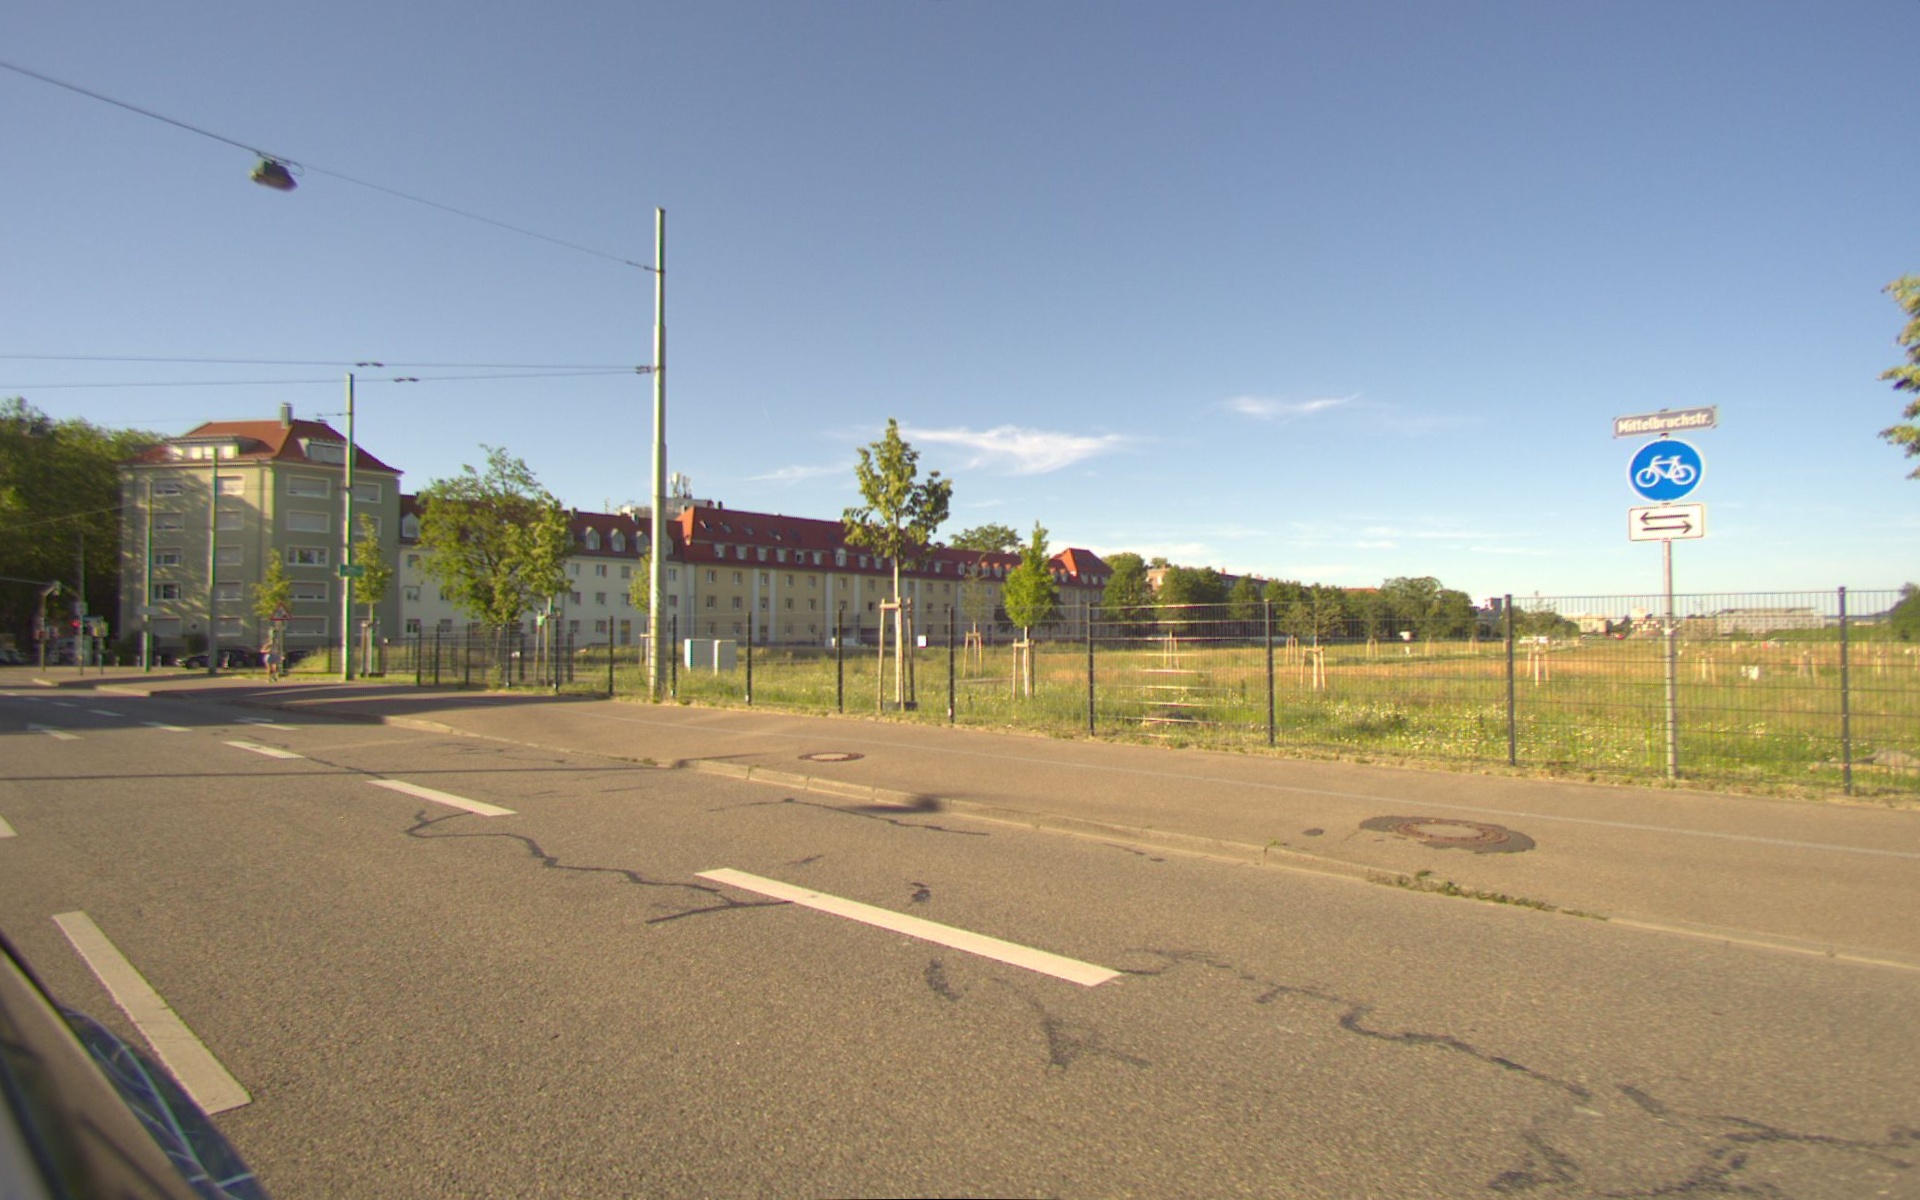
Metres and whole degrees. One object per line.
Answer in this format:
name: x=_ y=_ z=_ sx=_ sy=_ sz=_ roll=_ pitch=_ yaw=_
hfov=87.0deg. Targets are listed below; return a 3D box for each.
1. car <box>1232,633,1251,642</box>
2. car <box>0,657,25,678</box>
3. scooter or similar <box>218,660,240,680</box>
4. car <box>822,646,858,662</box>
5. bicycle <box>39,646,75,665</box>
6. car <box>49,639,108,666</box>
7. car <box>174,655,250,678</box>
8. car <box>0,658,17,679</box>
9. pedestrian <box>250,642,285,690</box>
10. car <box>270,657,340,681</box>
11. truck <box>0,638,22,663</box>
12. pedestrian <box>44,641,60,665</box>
car: x=54.243 y=7.230 z=194.917 sx=1.942 sy=1.505 sz=4.148 roll=-5 pitch=-5 yaw=42
car: x=-82.964 y=5.843 z=86.528 sx=4.078 sy=1.653 sz=1.780 roll=-1 pitch=0 yaw=-27
scooter or similar: x=-46.581 y=4.466 z=64.493 sx=0.586 sy=1.153 sz=1.268 roll=0 pitch=-7 yaw=-8
car: x=-13.006 y=5.882 z=109.905 sx=1.698 sy=1.542 sz=3.851 roll=-7 pitch=-6 yaw=38
bicycle: x=-74.354 y=4.572 z=83.335 sx=2.017 sy=1.473 sz=0.728 roll=2 pitch=-1 yaw=-20
car: x=-93.305 y=5.500 z=107.152 sx=4.345 sy=2.647 sz=1.976 roll=-1 pitch=0 yaw=-27
car: x=-54.409 y=4.827 z=73.624 sx=1.942 sy=1.505 sz=4.148 roll=-5 pitch=-5 yaw=42
car: x=-81.933 y=5.810 z=84.654 sx=4.078 sy=1.653 sz=1.780 roll=-1 pitch=0 yaw=-27
pedestrian: x=-24.704 y=2.331 z=36.099 sx=1.181 sy=1.641 sz=0.823 roll=-3 pitch=-2 yaw=44
car: x=-46.444 y=4.867 z=71.777 sx=1.698 sy=1.542 sz=3.851 roll=-7 pitch=-6 yaw=38
truck: x=-121.792 y=6.419 z=128.331 sx=2.304 sy=2.995 sz=8.056 roll=-1 pitch=0 yaw=-30
pedestrian: x=-75.575 y=4.393 z=84.247 sx=0.685 sy=1.978 sz=0.930 roll=-1 pitch=0 yaw=-19
